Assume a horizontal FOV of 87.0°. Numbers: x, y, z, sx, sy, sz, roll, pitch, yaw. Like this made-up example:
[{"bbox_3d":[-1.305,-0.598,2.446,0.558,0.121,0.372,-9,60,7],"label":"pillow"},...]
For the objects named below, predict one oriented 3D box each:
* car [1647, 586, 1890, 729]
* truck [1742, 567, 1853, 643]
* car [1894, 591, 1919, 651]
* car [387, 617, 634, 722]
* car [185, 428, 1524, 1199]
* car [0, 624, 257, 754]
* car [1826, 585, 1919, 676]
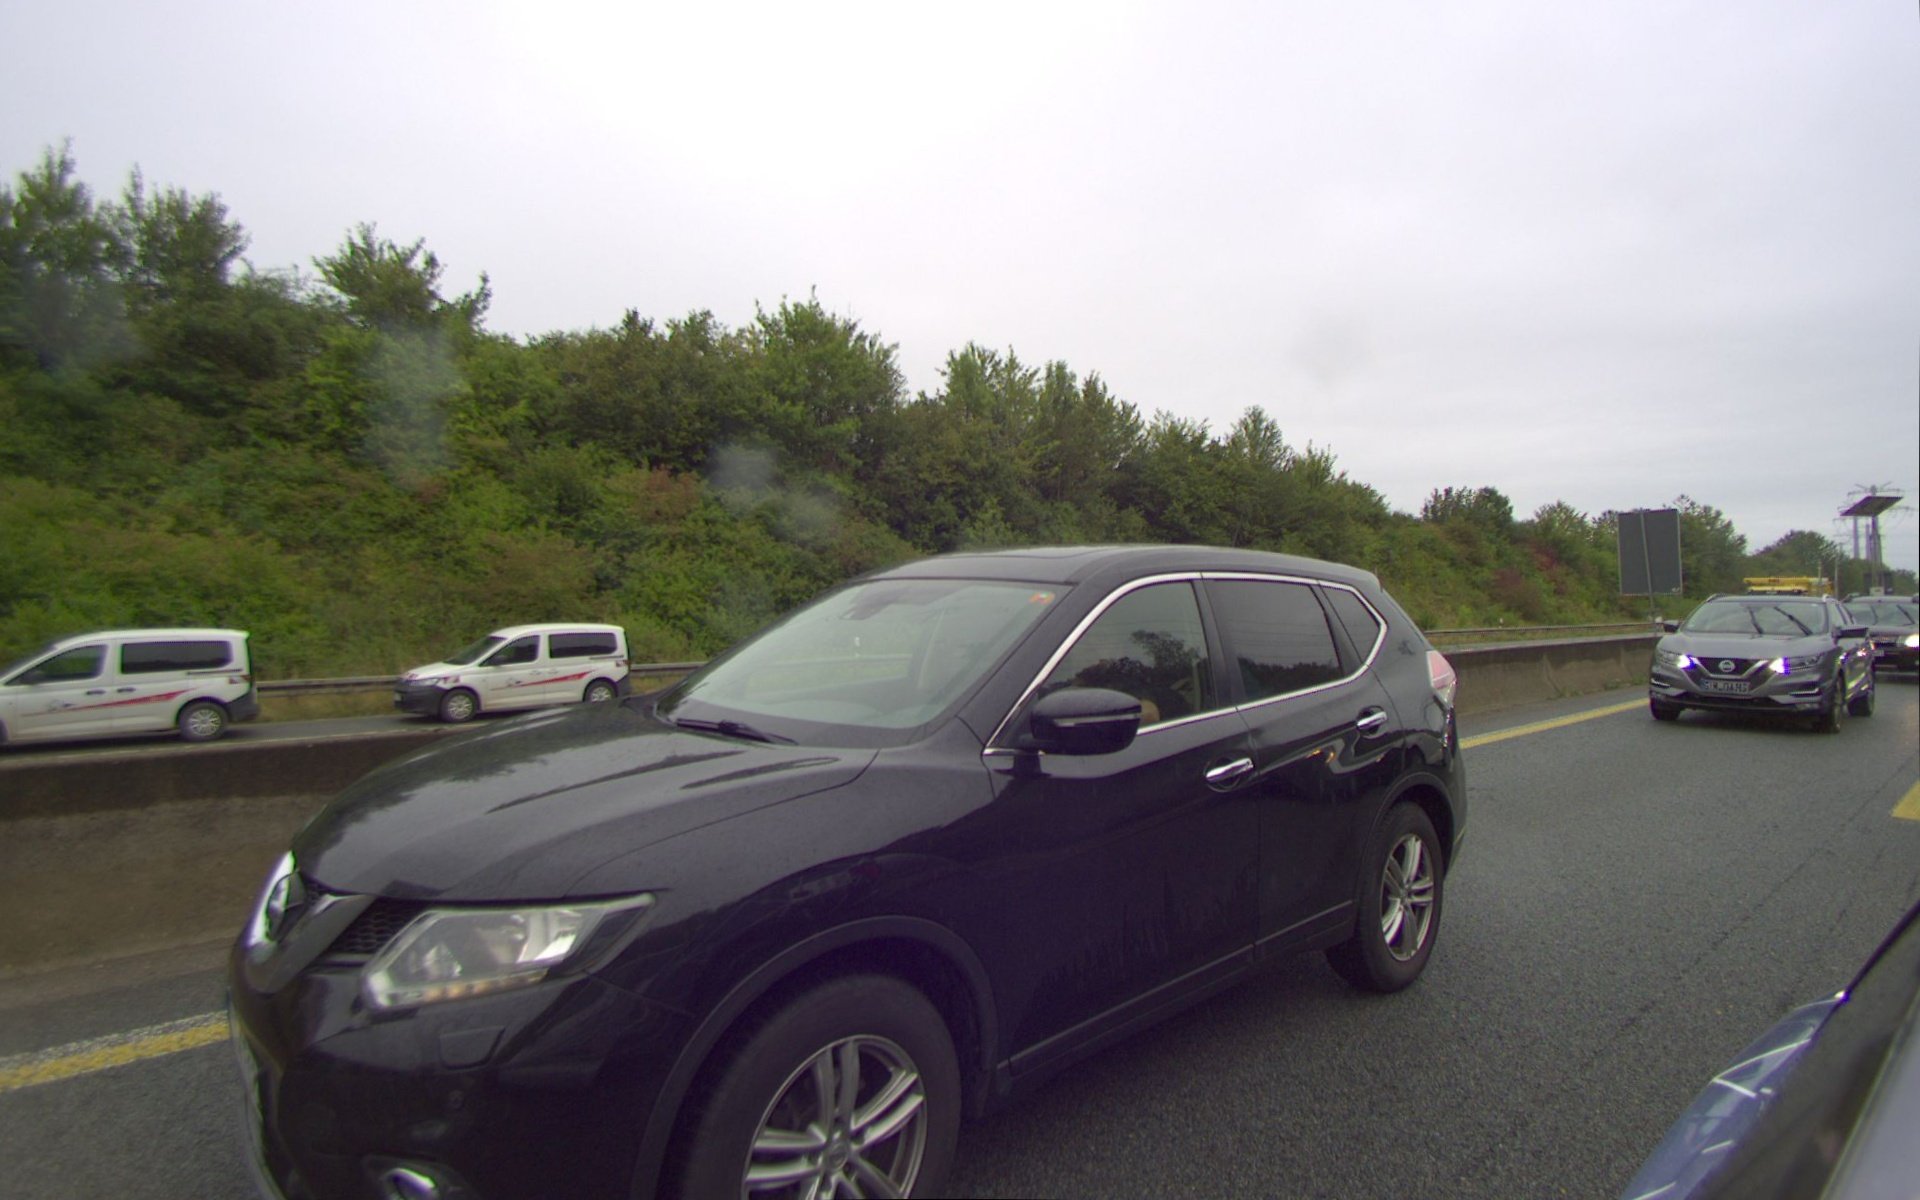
[{"bbox_3d":[10.233,0.577,12.708,4.054,1.509,1.782,-1,1,-42],"label":"car"},{"bbox_3d":[41.631,0.172,50.157,9.406,3.467,2.618,-1,1,-40],"label":"truck"},{"bbox_3d":[25.997,0.523,26.603,4.054,1.509,1.782,-1,1,-42],"label":"car"},{"bbox_3d":[-8.969,1.295,20.424,4.256,1.792,1.731,-1,1,-42],"label":"car"},{"bbox_3d":[0.174,0.584,3.622,4.562,1.696,1.892,-1,1,-42],"label":"car"},{"bbox_3d":[-13.858,1.346,16.120,4.196,1.780,1.731,-1,1,-42],"label":"car"},{"bbox_3d":[18.260,0.515,19.595,4.054,1.618,1.782,-1,1,-42],"label":"car"}]
